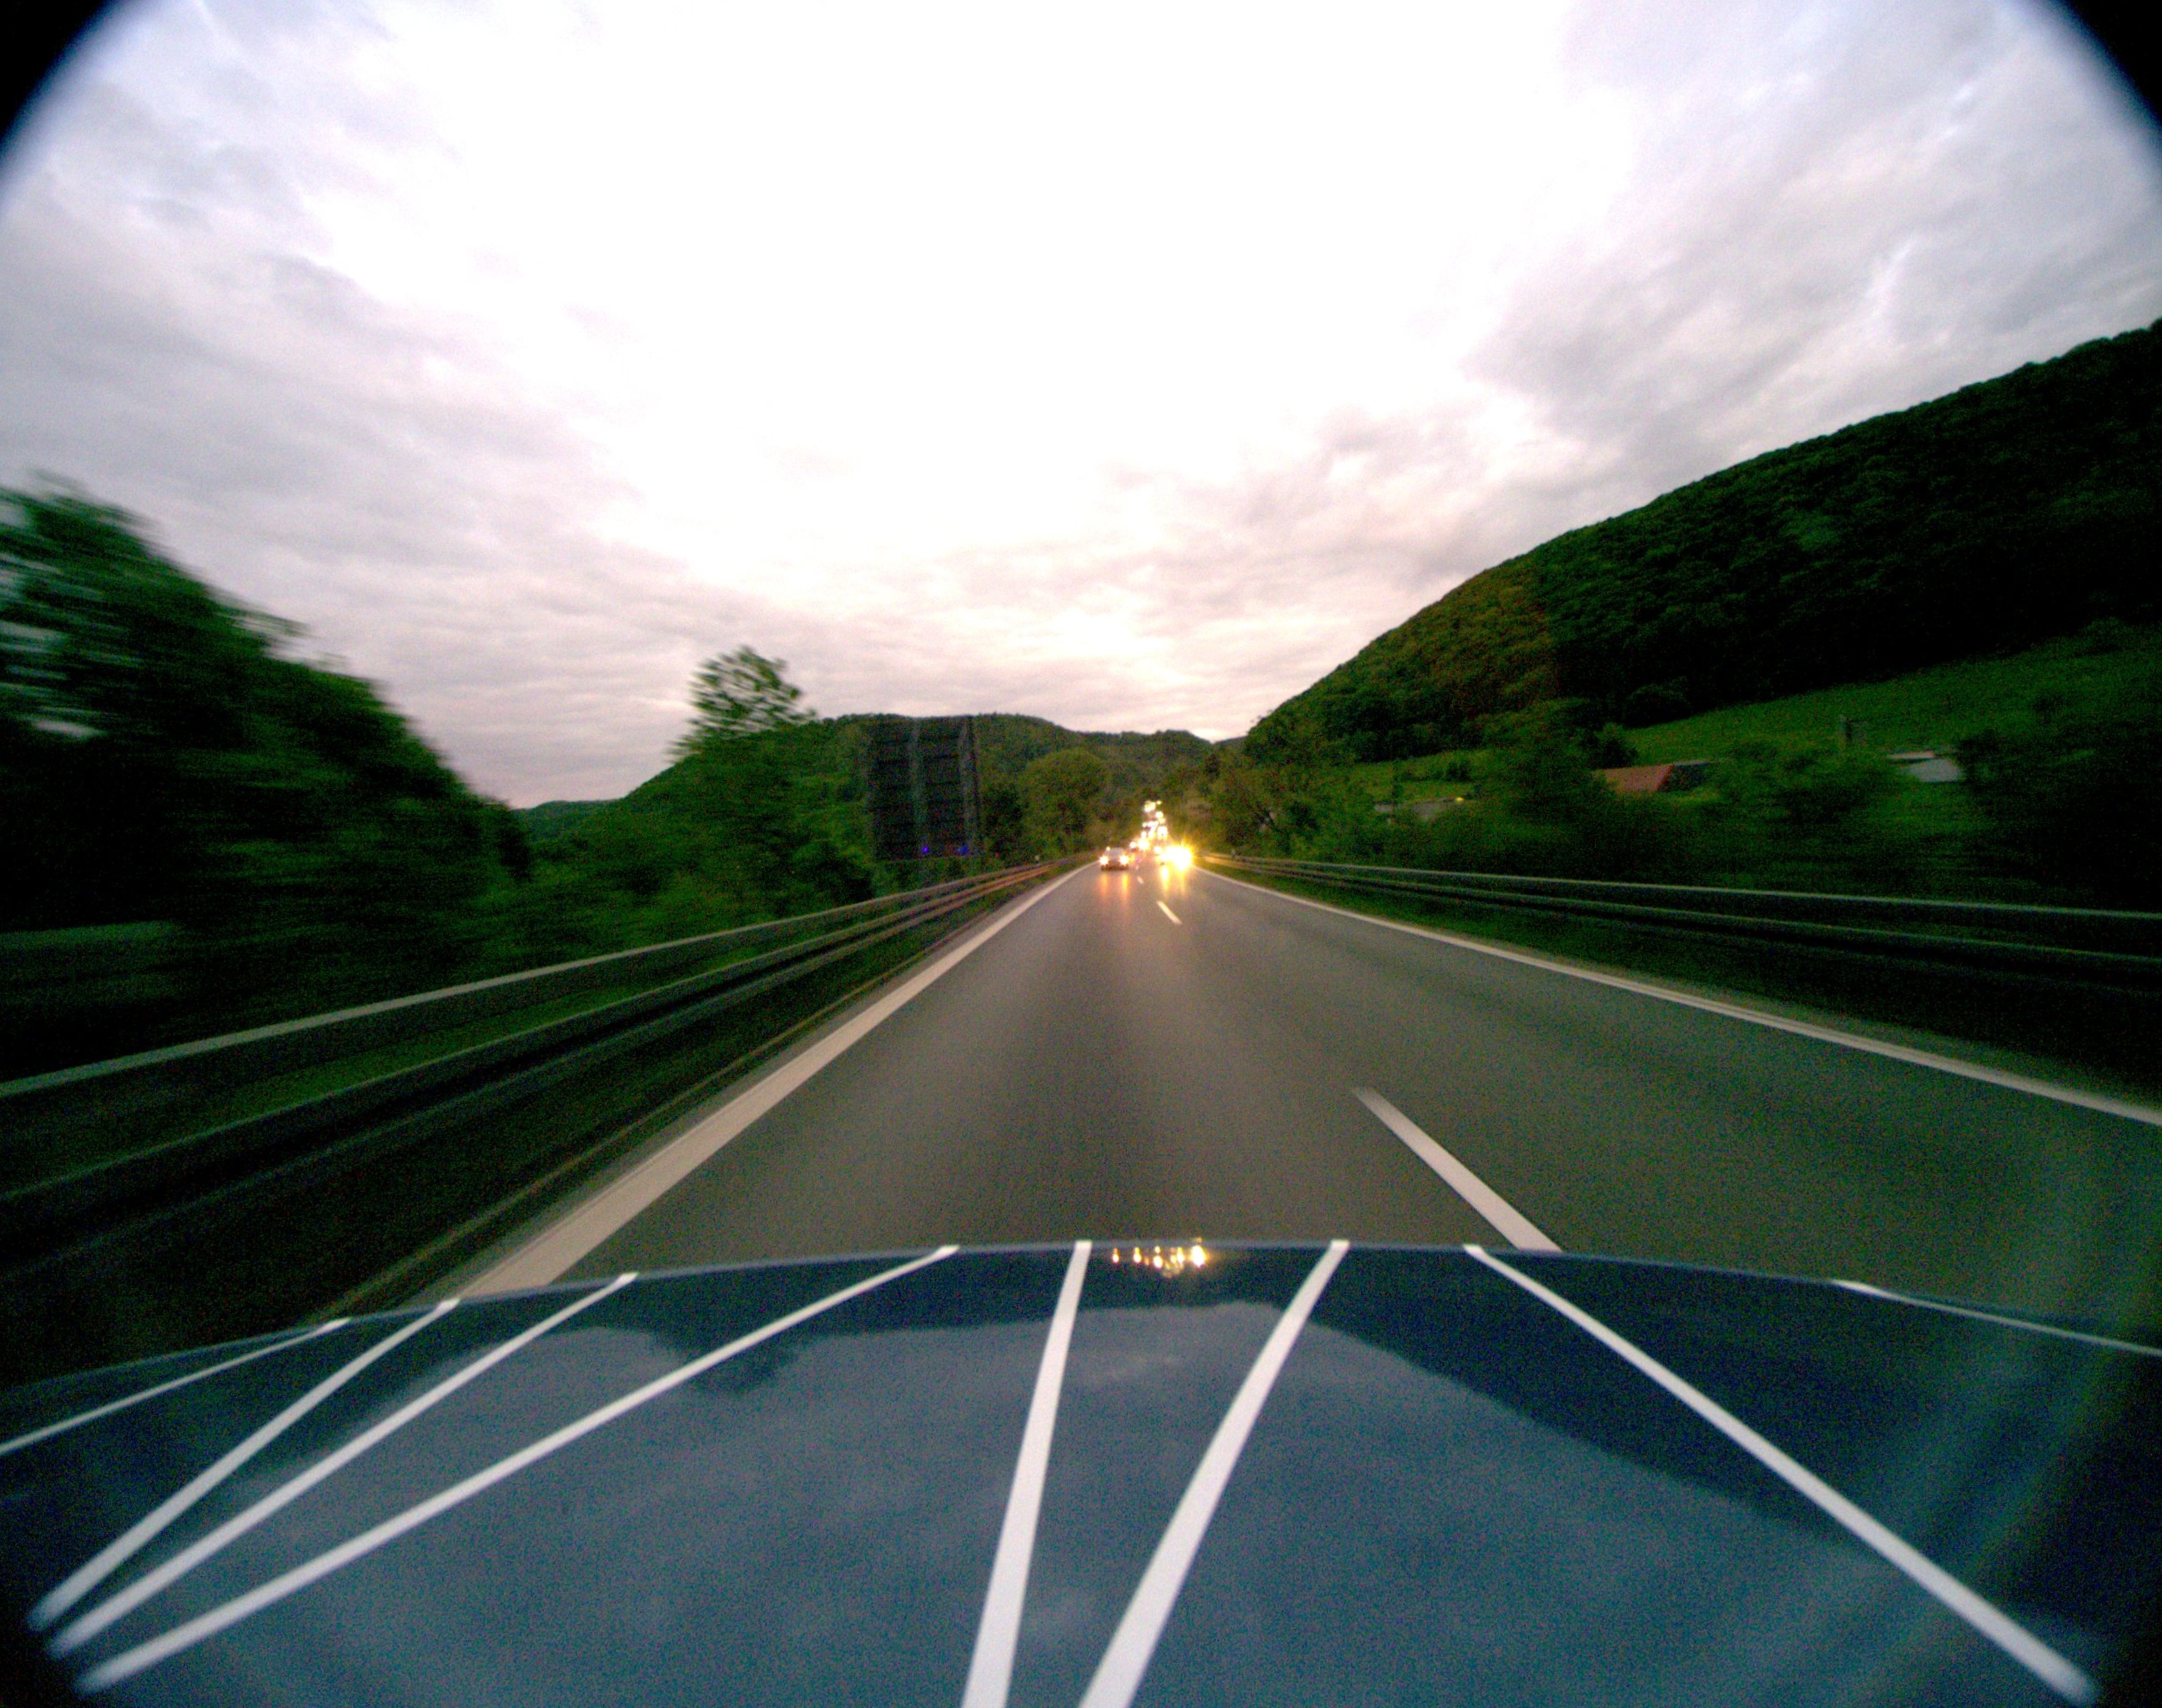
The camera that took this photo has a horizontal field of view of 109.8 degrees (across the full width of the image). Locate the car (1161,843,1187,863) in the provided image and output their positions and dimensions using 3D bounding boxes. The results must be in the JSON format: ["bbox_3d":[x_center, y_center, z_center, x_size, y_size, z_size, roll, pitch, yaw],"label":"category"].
[{"bbox_3d":[7.304,-0.055,59.652,1.690,1.459,3.768,-2,0,3],"label":"car"}]

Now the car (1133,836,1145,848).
[{"bbox_3d":[8.611,-1.712,112.855,1.737,1.641,3.670,-2,0,5],"label":"car"}]

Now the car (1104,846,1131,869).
[{"bbox_3d":[2.480,0.213,51.850,1.690,1.443,3.669,-2,0,3],"label":"car"}]

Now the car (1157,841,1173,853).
[{"bbox_3d":[10.086,-0.813,91.251,1.690,1.425,3.669,-2,0,3],"label":"car"}]
